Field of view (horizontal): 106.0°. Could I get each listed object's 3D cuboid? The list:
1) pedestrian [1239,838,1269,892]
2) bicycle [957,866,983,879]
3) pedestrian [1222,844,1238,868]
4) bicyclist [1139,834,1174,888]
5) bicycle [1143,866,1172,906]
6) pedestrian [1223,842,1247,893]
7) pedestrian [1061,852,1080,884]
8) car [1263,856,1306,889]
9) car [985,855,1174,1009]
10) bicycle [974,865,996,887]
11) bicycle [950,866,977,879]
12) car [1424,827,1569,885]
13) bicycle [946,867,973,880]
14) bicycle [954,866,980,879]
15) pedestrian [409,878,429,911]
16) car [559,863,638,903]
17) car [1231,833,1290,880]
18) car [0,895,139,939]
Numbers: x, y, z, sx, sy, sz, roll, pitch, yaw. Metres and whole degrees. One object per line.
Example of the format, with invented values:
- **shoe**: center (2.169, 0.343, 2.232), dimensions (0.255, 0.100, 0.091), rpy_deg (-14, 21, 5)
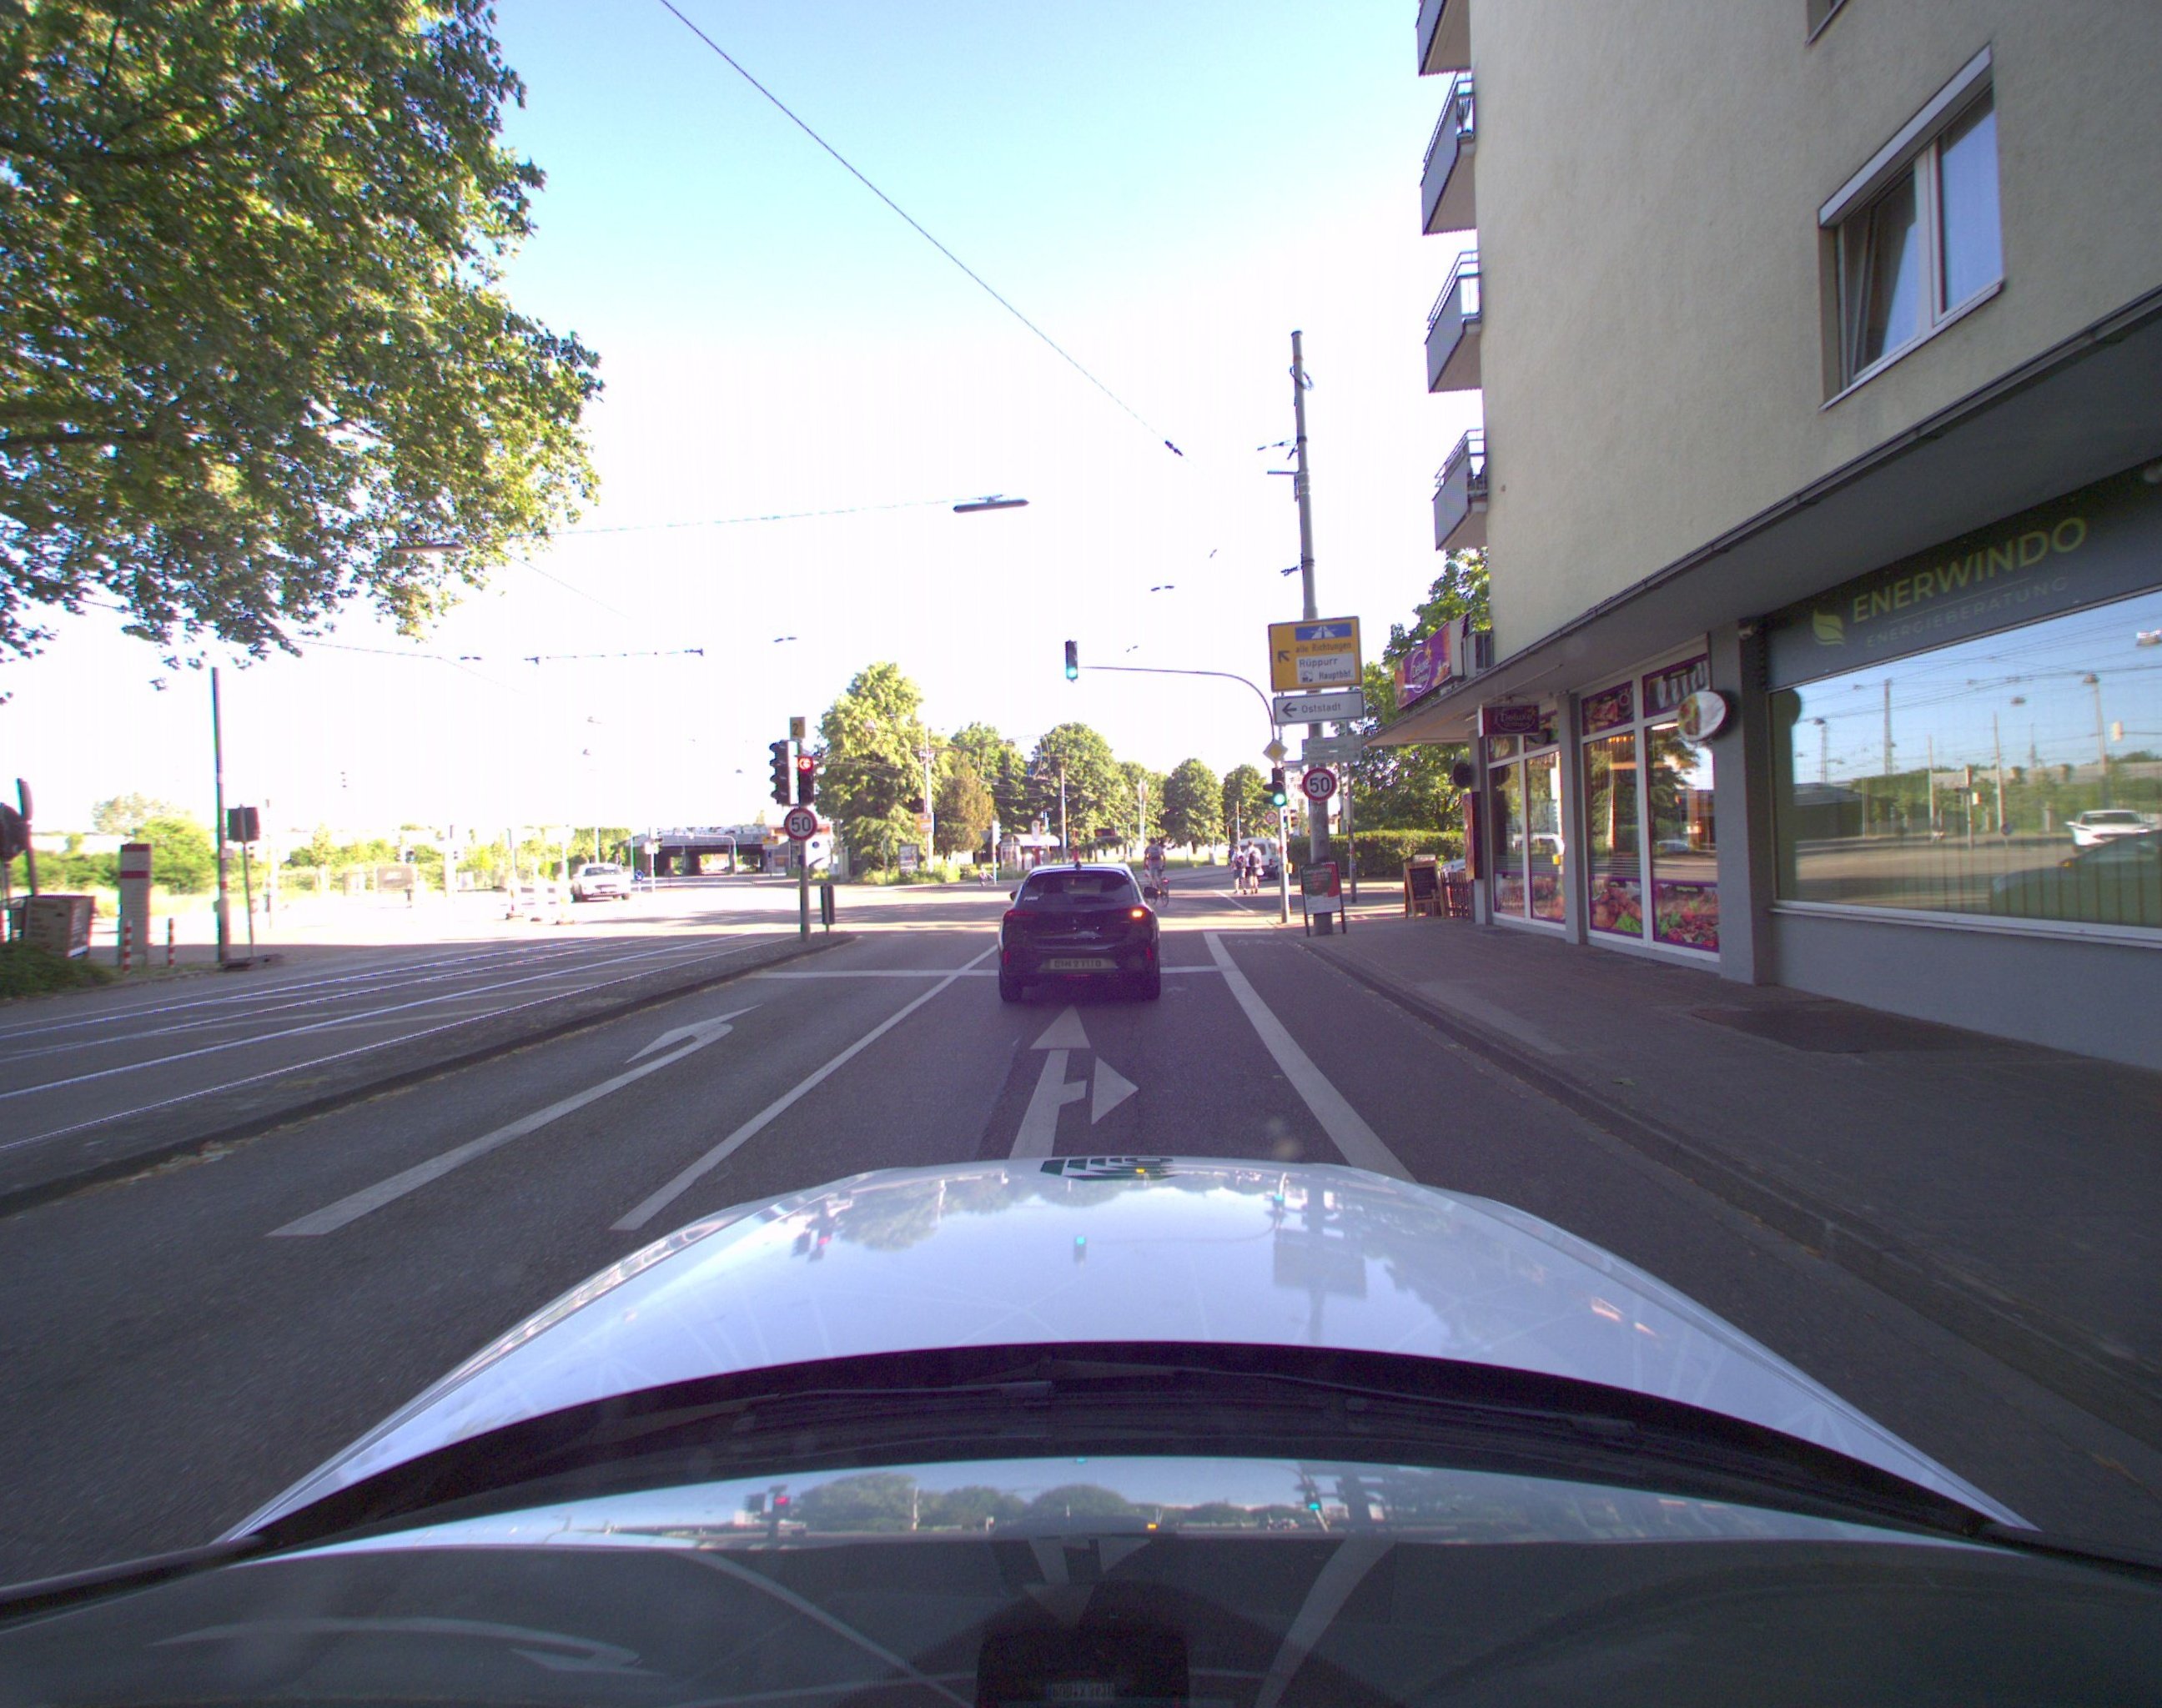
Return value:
- **pedestrian**: center (6.076, 0.385, 28.634), dimensions (0.696, 1.846, 0.705), rpy_deg (-2, -1, 41)
- **bicycle**: center (-8.637, 1.409, 63.265), dimensions (1.866, 0.906, 0.661), rpy_deg (-3, 0, 8)
- **pedestrian**: center (11.482, 0.174, 62.706), dimensions (0.949, 1.793, 1.001), rpy_deg (-2, -1, 27)
- **bicyclist**: center (2.190, 0.196, 23.796), dimensions (0.838, 1.510, 1.368), rpy_deg (-2, 0, -1)
- **bicycle**: center (2.214, 0.898, 23.777), dimensions (0.665, 1.059, 2.082), rpy_deg (-2, 0, 1)
- **pedestrian**: center (5.513, 0.476, 29.231), dimensions (0.696, 1.792, 0.617), rpy_deg (-2, 0, 1)
- **pedestrian**: center (-0.577, 0.741, 43.818), dimensions (0.718, 1.693, 0.705), rpy_deg (-2, 0, 29)
- **car**: center (12.066, 1.053, 48.125), dimensions (1.784, 1.763, 3.913), rpy_deg (-2, 0, 24)
- **car**: center (0.076, 0.760, 9.917), dimensions (1.793, 1.441, 3.942), rpy_deg (-2, 0, 3)
- **bicycle**: center (-5.090, 1.157, 43.191), dimensions (0.821, 1.059, 1.885), rpy_deg (-2, 0, 4)
- **bicycle**: center (-8.890, 1.430, 61.425), dimensions (1.866, 0.906, 0.661), rpy_deg (-2, 0, 8)
- **car**: center (14.574, 0.116, 28.792), dimensions (4.151, 1.814, 1.811), rpy_deg (-2, -3, 9)
- **bicycle**: center (-9.005, 1.437, 60.441), dimensions (1.866, 0.906, 0.661), rpy_deg (-2, 0, 8)
- **bicycle**: center (-8.725, 1.426, 62.294), dimensions (1.866, 0.906, 0.661), rpy_deg (-2, 0, 8)
- **pedestrian**: center (-33.244, 2.031, 40.898), dimensions (0.602, 1.596, 0.679), rpy_deg (0, -1, -24)
- **car**: center (-21.495, 1.265, 36.220), dimensions (2.012, 1.631, 4.573), rpy_deg (-2, 0, -44)
- **car**: center (9.426, 0.145, 42.445), dimensions (2.070, 2.278, 4.331), rpy_deg (-1, -1, 25)
- **car**: center (-43.280, 2.633, 34.423), dimensions (4.007, 1.419, 1.879), rpy_deg (-1, 6, -25)
